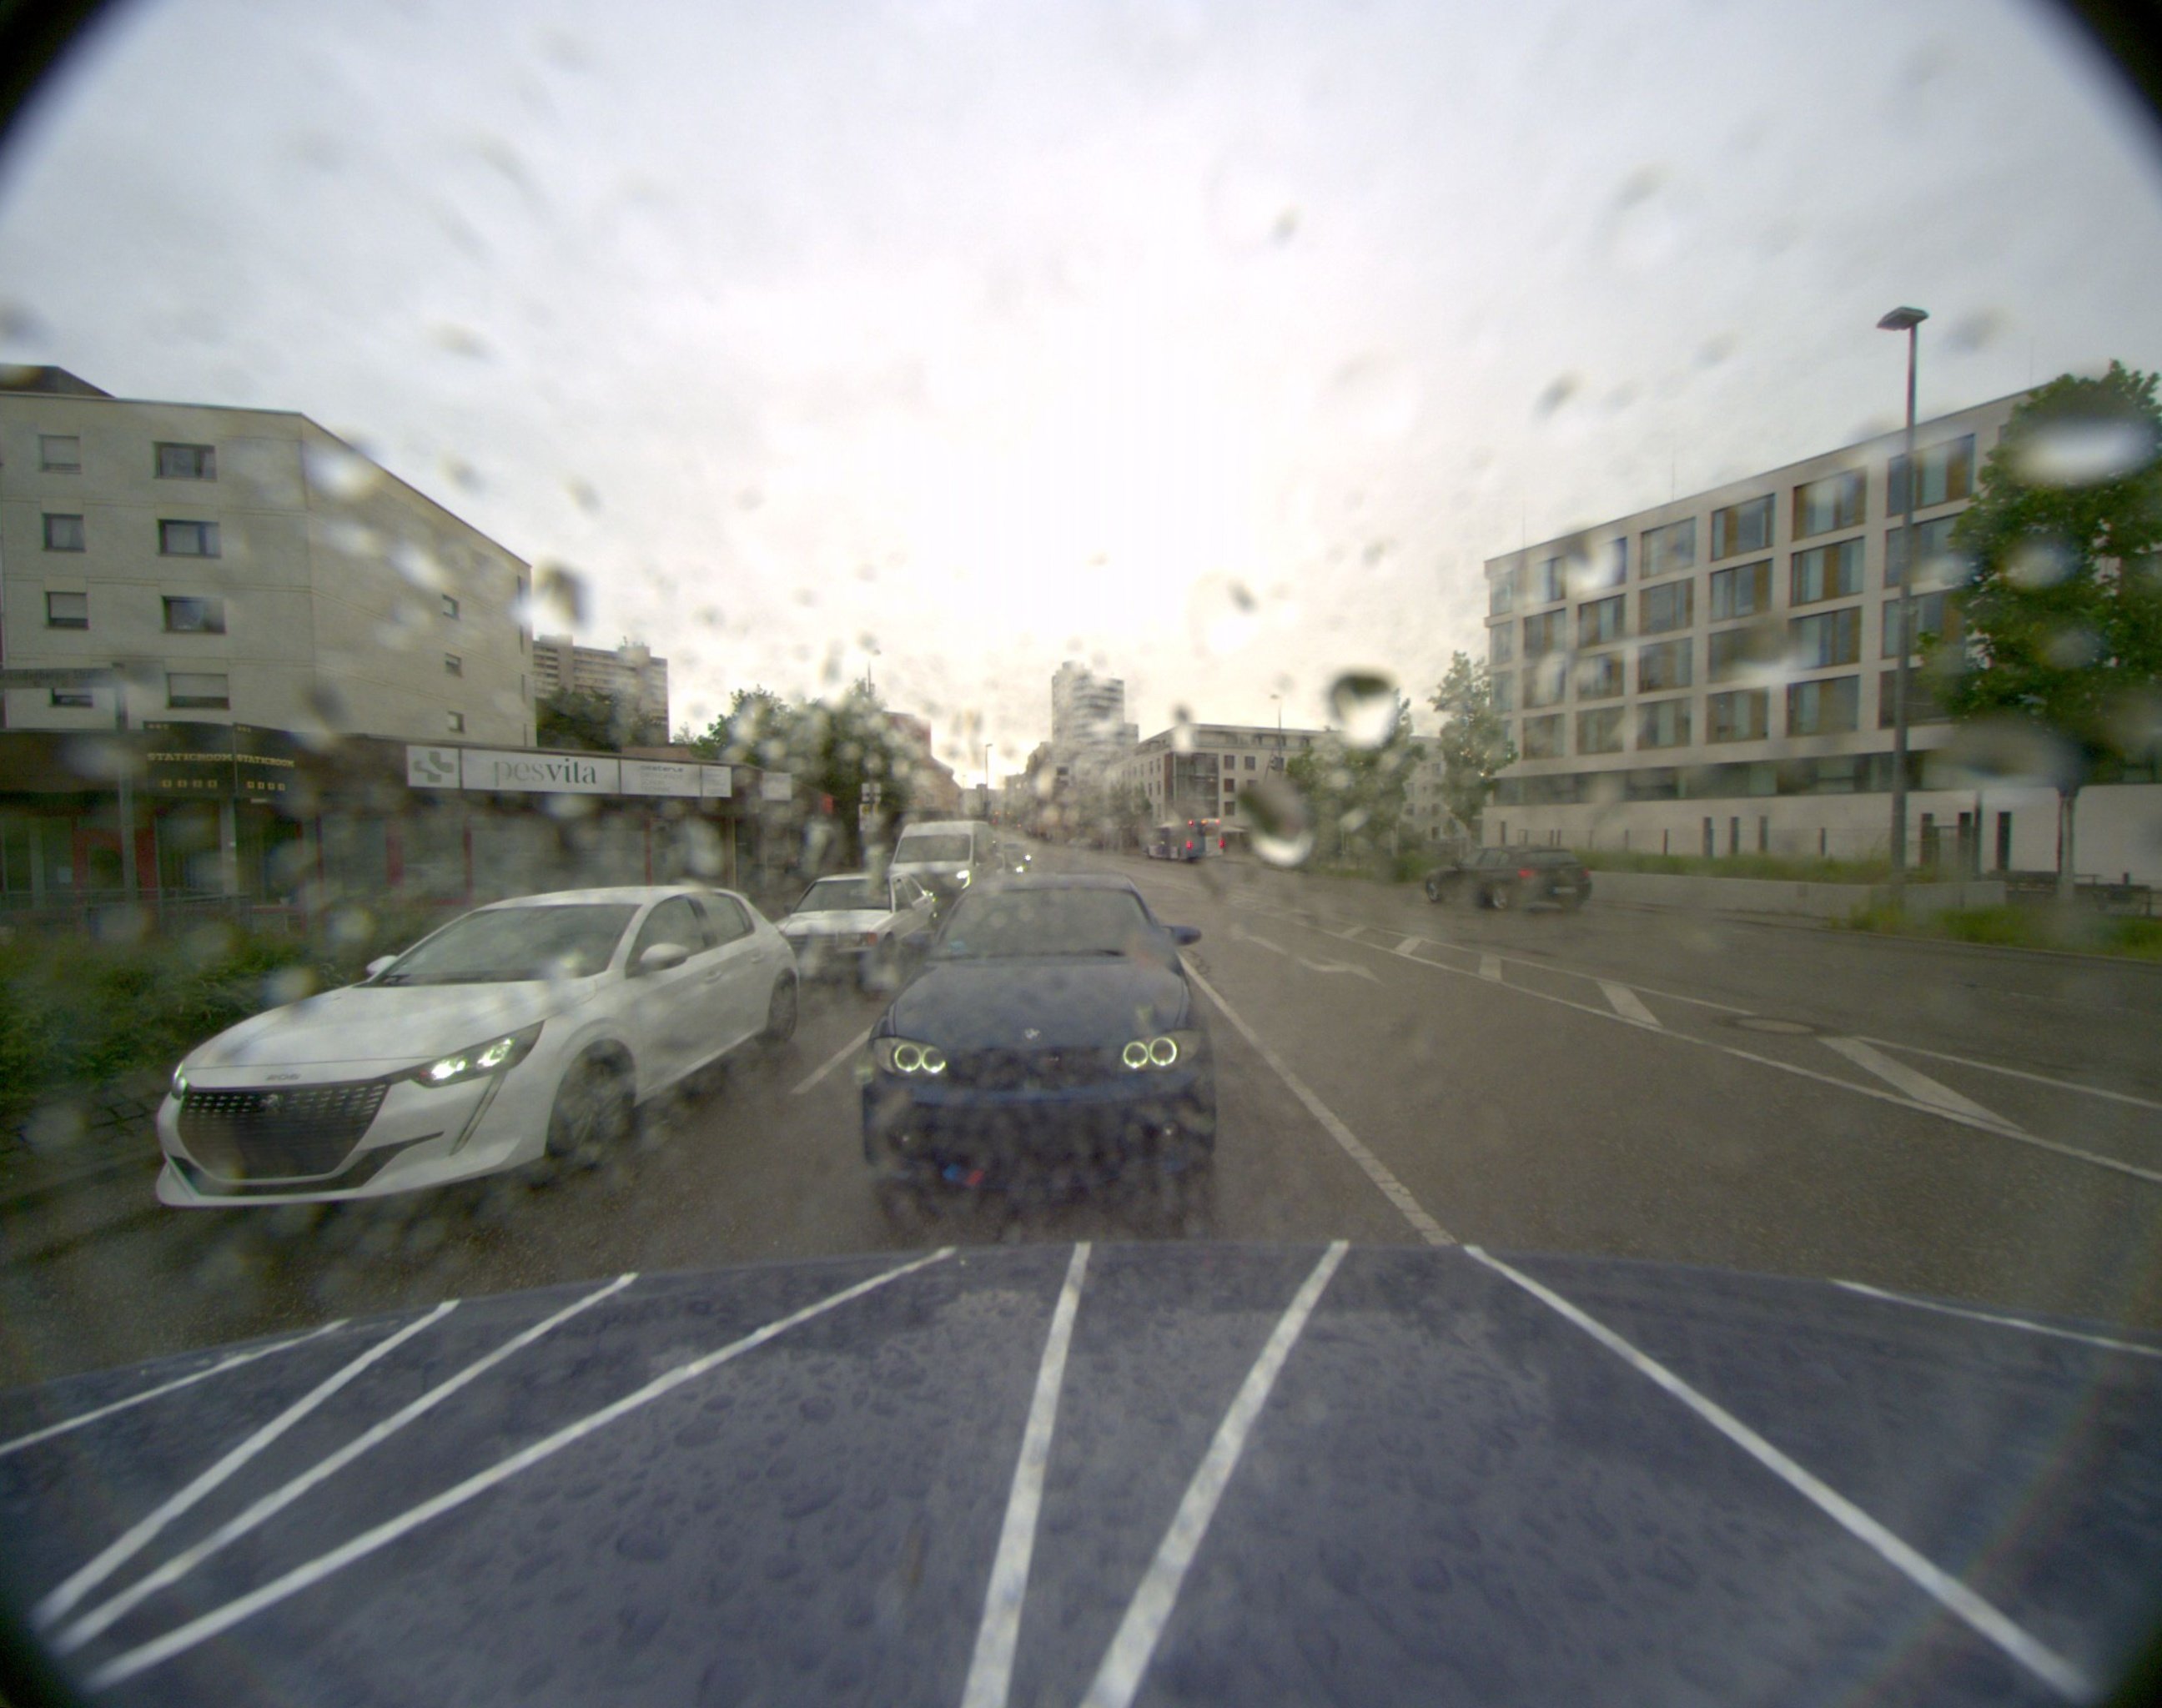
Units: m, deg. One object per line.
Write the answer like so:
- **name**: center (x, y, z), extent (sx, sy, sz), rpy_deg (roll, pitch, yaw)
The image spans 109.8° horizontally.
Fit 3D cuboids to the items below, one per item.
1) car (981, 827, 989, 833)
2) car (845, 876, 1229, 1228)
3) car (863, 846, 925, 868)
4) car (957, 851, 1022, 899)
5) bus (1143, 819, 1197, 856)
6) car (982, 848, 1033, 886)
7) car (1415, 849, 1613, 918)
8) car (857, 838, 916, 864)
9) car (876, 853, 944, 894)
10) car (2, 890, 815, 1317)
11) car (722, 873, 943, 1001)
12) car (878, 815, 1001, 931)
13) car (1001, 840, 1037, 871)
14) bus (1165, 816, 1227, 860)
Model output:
- **car**: center (-26.737, -6.761, 211.562), extent (1.666, 1.625, 3.801), rpy_deg (-2, 1, -11)
- **car**: center (-0.237, 0.952, 5.438), extent (1.693, 1.380, 3.999), rpy_deg (-2, 1, -1)
- **car**: center (-13.002, 0.179, 53.026), extent (4.000, 1.419, 1.882), rpy_deg (-1, 1, -10)
- **car**: center (-3.309, 0.718, 28.066), extent (1.803, 1.530, 3.999), rpy_deg (-2, 1, 1)
- **bus**: center (7.817, -1.414, 67.945), extent (2.800, 3.096, 8.877), rpy_deg (-1, 1, -7)
- **car**: center (-3.359, 0.545, 35.356), extent (1.999, 1.559, 3.998), rpy_deg (-2, 1, -1)
- **car**: center (9.789, 0.579, 17.650), extent (1.791, 1.382, 4.278), rpy_deg (0, 1, -7)
- **car**: center (-14.169, -0.236, 55.448), extent (4.000, 1.769, 1.882), rpy_deg (-1, 1, -10)
- **car**: center (-7.013, 0.770, 31.507), extent (1.788, 1.481, 4.000), rpy_deg (-2, 1, 1)
- **car**: center (-3.365, 1.089, 5.053), extent (1.666, 1.407, 4.114), rpy_deg (-2, 1, 1)
- **car**: center (-3.366, 1.054, 11.228), extent (1.788, 1.338, 4.162), rpy_deg (-2, 1, 1)
- **car**: center (-3.453, 0.360, 19.896), extent (2.197, 2.503, 6.120), rpy_deg (-1, 1, -2)
- **car**: center (-4.134, 0.046, 50.991), extent (1.998, 2.002, 3.999), rpy_deg (0, 1, 1)
- **bus**: center (8.729, -1.190, 58.889), extent (2.785, 3.096, 9.363), rpy_deg (-1, 1, -4)
